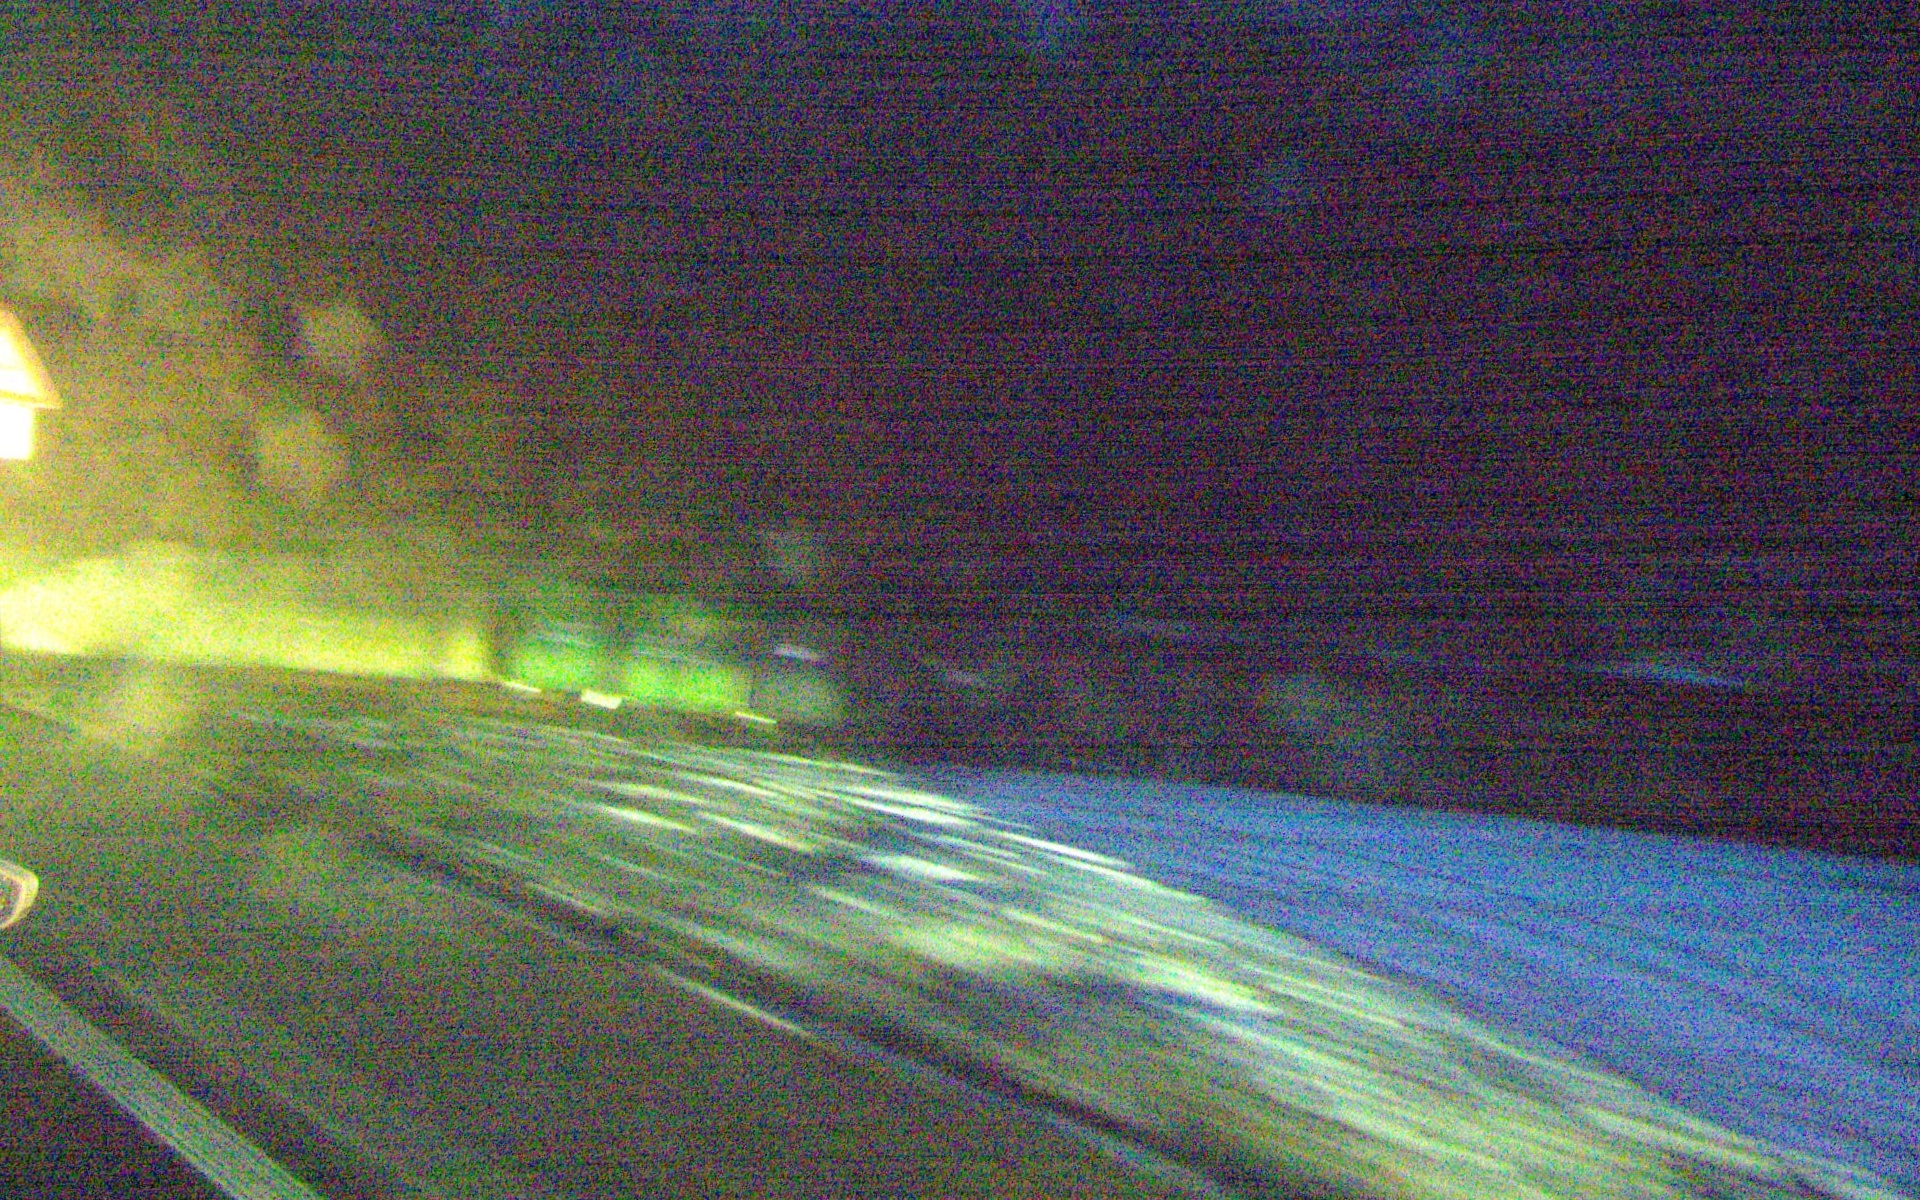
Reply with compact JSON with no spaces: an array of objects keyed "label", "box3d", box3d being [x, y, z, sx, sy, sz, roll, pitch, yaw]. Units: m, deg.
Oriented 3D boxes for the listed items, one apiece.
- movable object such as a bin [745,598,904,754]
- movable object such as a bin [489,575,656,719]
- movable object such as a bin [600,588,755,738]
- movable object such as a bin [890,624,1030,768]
[{"label":"movable object such as a bin","box3d":[-1.388,0.767,10.673,1.365,1.430,1.251,5,0,2]},{"label":"movable object such as a bin","box3d":[-4.136,0.481,10.884,1.299,1.325,1.175,7,1,-6]},{"label":"movable object such as a bin","box3d":[-2.910,0.630,10.528,1.210,1.341,1.152,7,0,-4]},{"label":"movable object such as a bin","box3d":[0.018,0.971,10.675,1.293,1.315,1.251,5,0,2]}]
